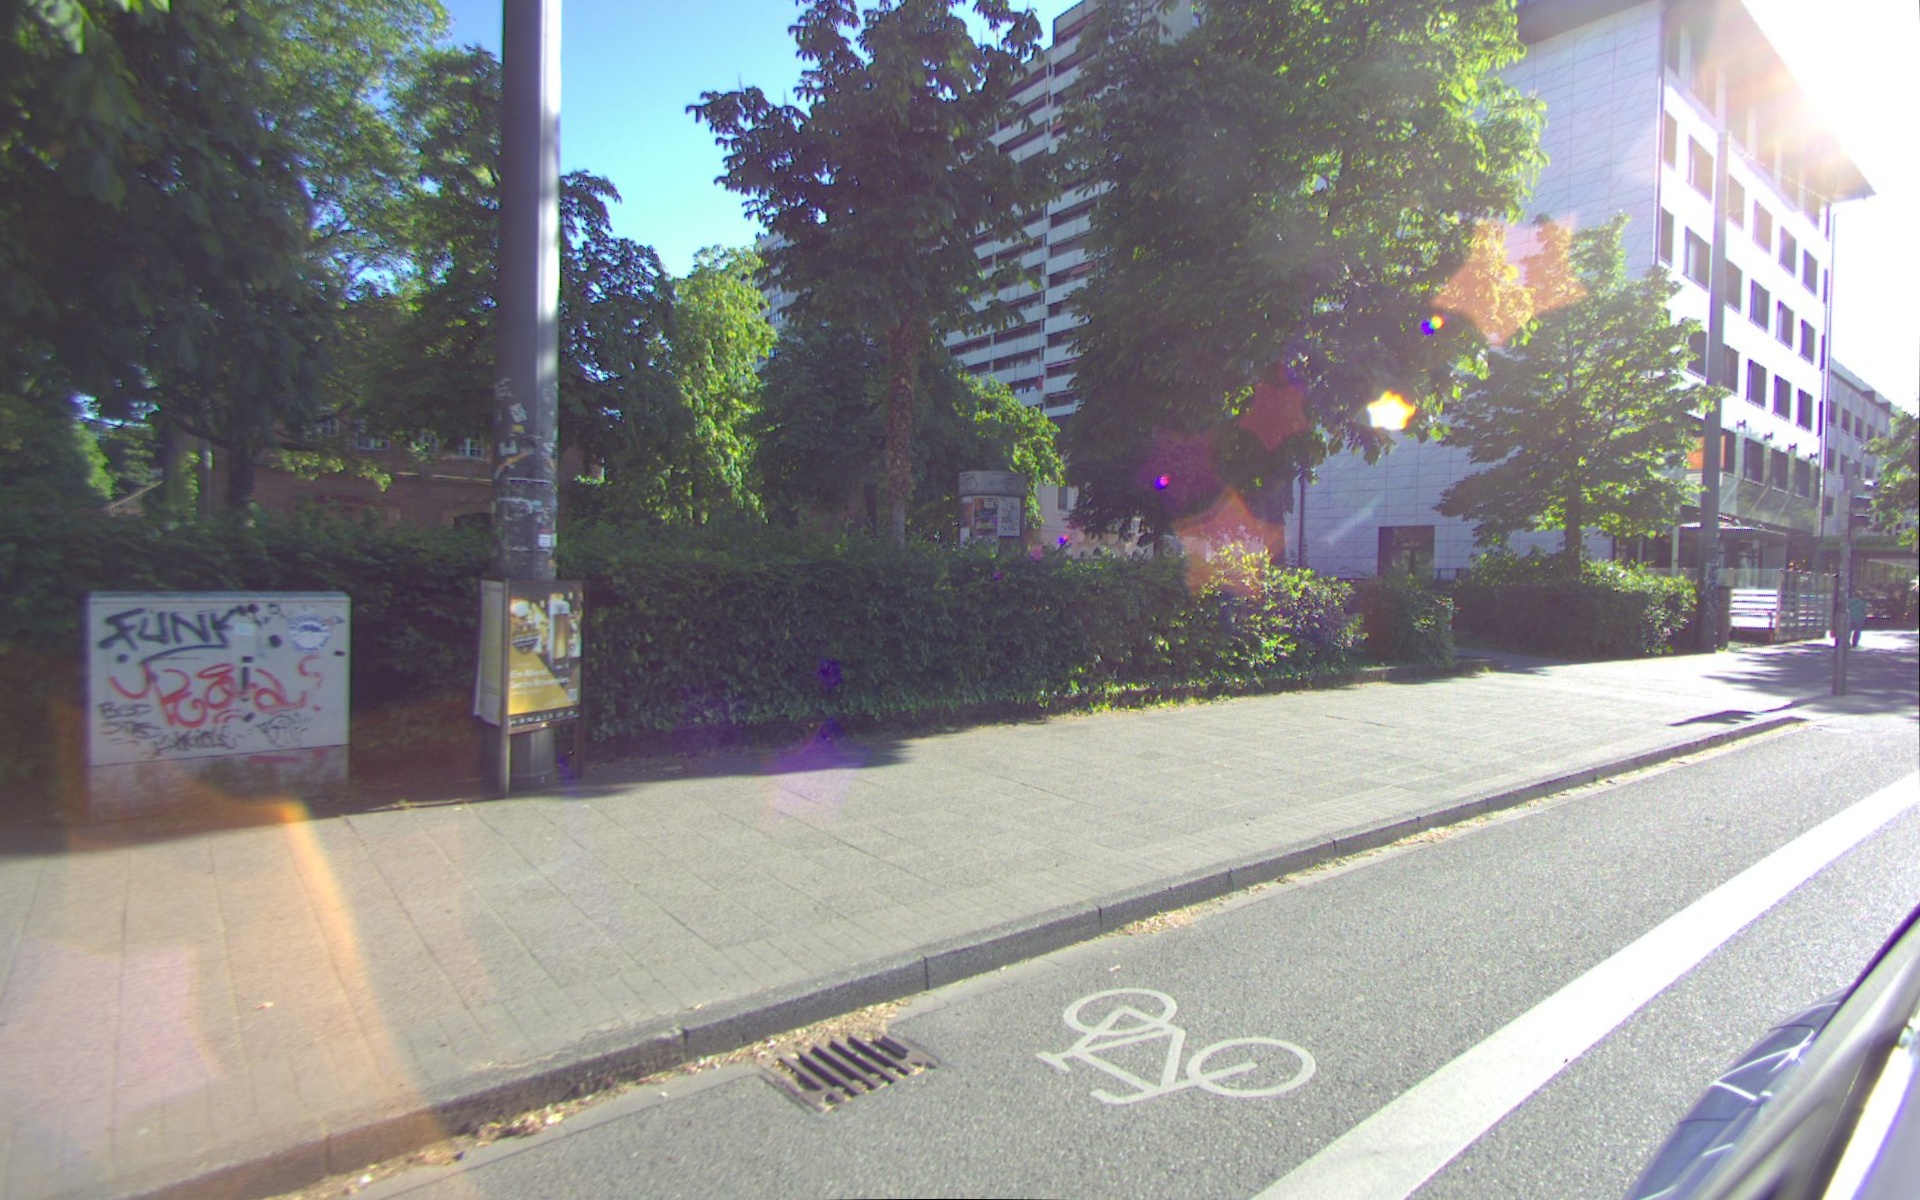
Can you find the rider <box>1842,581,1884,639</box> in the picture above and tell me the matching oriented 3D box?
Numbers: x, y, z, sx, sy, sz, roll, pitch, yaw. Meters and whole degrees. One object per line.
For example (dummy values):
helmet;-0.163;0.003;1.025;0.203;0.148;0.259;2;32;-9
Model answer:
rider;25.828;0.264;28.954;0.776;1.610;0.778;0;2;-43
